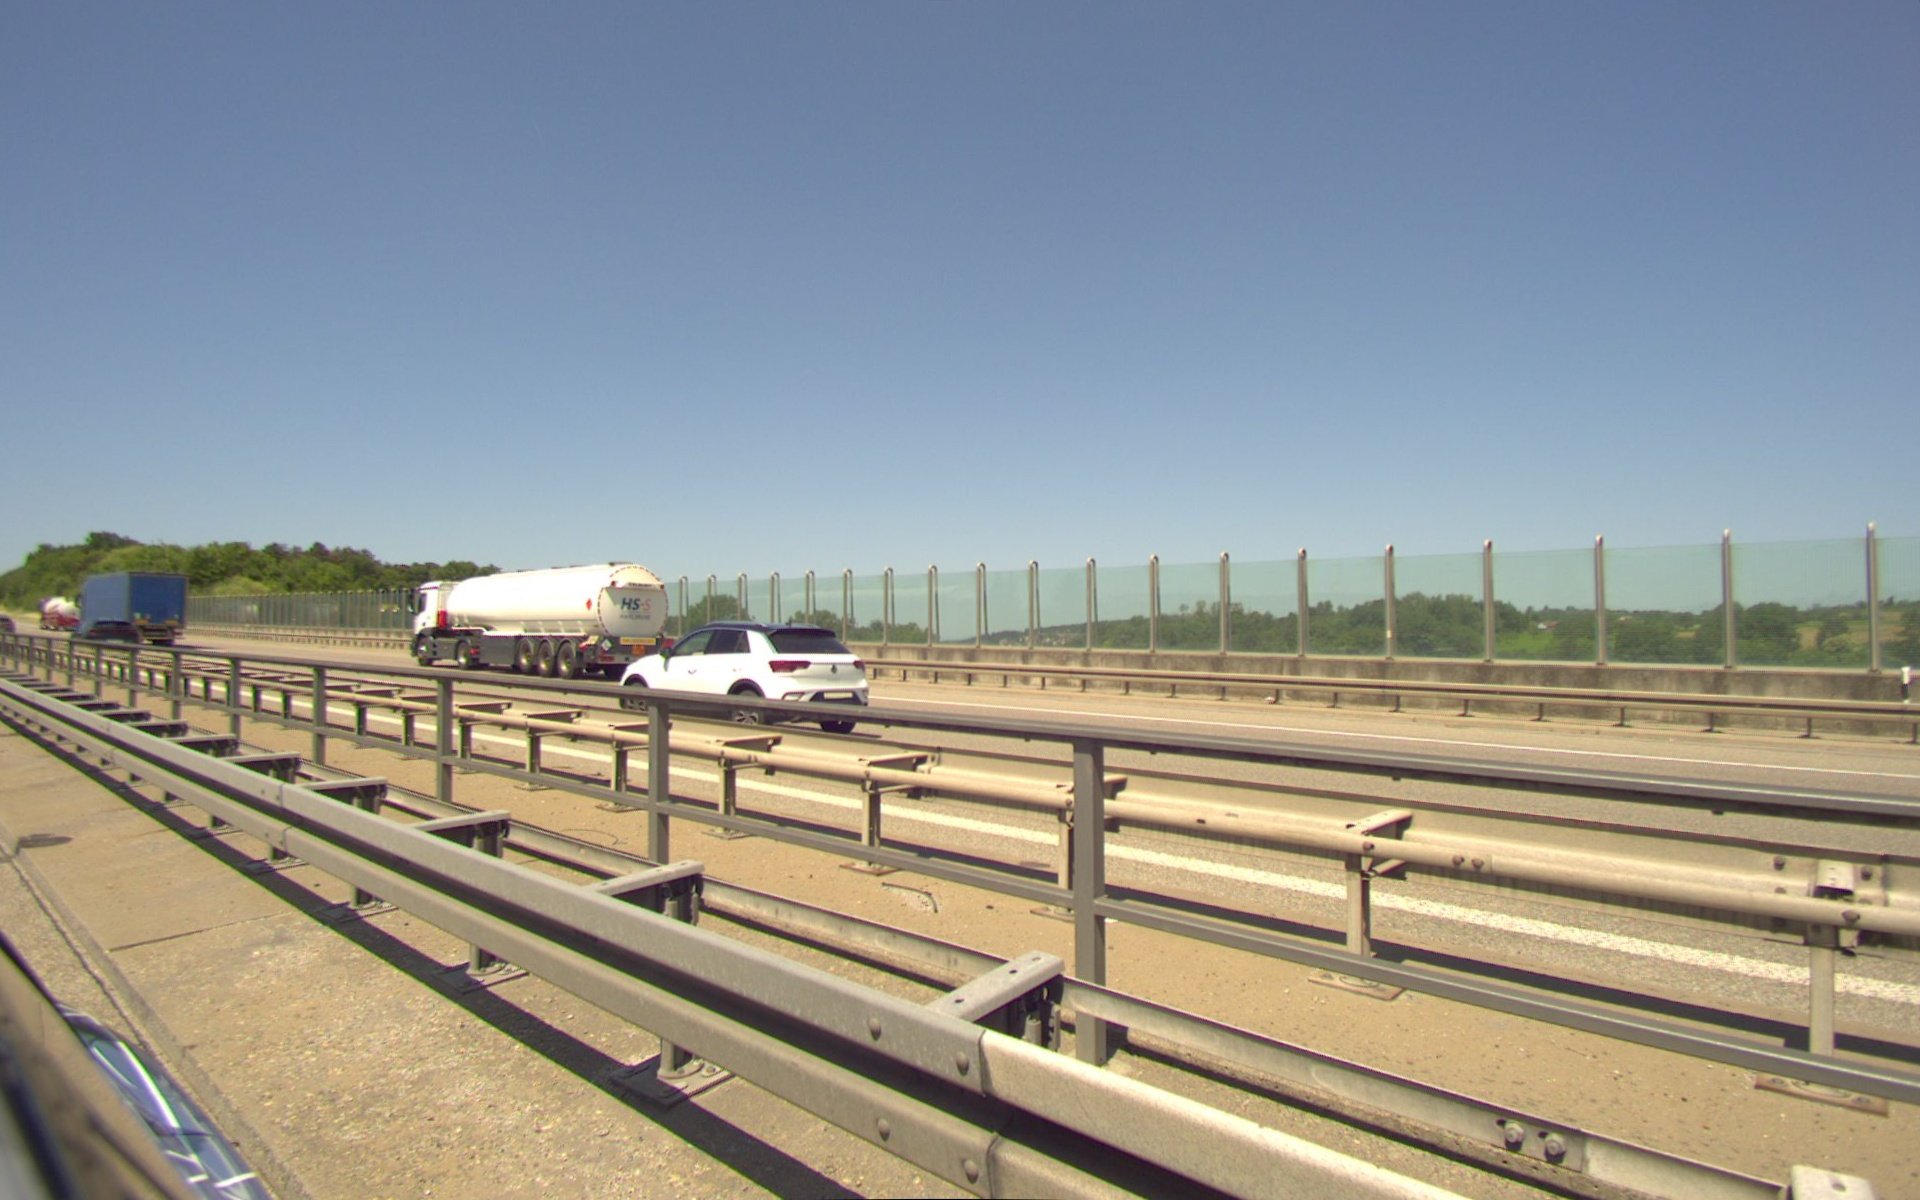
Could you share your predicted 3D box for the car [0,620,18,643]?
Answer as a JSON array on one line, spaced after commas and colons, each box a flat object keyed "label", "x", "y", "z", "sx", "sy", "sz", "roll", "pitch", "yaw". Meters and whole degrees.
[{"label": "car", "x": -69.087, "y": 2.276, "z": 72.502, "sx": 4.186, "sy": 1.564, "sz": 1.863, "roll": 0, "pitch": 0, "yaw": 40}]

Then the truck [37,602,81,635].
[{"label": "truck", "x": -97.514, "y": 1.994, "z": 109.491, "sx": 6.294, "sy": 3.441, "sz": 2.877, "roll": 0, "pitch": -3, "yaw": 43}]

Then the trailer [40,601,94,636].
[{"label": "trailer", "x": -93.207, "y": 1.948, "z": 105.489, "sx": 12.006, "sy": 3.405, "sz": 2.845, "roll": 0, "pitch": -3, "yaw": 43}]

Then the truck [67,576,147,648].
[{"label": "truck", "x": -51.743, "y": 0.732, "z": 61.367, "sx": 6.262, "sy": 4.148, "sz": 2.724, "roll": -1, "pitch": -2, "yaw": 41}]

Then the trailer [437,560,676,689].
[{"label": "trailer", "x": -13.275, "y": 0.753, "z": 32.504, "sx": 10.900, "sy": 3.567, "sz": 2.472, "roll": 0, "pitch": -2, "yaw": 42}]

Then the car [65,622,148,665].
[{"label": "car", "x": -33.963, "y": 1.691, "z": 40.233, "sx": 4.186, "sy": 1.564, "sz": 1.863, "roll": 0, "pitch": 0, "yaw": 40}]

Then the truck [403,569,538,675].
[{"label": "truck", "x": -17.745, "y": 0.793, "z": 36.573, "sx": 5.329, "sy": 3.562, "sz": 2.493, "roll": -1, "pitch": -2, "yaw": 42}]

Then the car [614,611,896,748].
[{"label": "car", "x": -2.979, "y": 1.024, "z": 14.309, "sx": 3.997, "sy": 1.652, "sz": 1.788, "roll": 0, "pitch": -3, "yaw": 40}]

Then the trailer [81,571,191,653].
[{"label": "trailer", "x": -46.322, "y": 0.679, "z": 56.702, "sx": 12.043, "sy": 4.197, "sz": 2.676, "roll": 0, "pitch": -2, "yaw": 41}]
